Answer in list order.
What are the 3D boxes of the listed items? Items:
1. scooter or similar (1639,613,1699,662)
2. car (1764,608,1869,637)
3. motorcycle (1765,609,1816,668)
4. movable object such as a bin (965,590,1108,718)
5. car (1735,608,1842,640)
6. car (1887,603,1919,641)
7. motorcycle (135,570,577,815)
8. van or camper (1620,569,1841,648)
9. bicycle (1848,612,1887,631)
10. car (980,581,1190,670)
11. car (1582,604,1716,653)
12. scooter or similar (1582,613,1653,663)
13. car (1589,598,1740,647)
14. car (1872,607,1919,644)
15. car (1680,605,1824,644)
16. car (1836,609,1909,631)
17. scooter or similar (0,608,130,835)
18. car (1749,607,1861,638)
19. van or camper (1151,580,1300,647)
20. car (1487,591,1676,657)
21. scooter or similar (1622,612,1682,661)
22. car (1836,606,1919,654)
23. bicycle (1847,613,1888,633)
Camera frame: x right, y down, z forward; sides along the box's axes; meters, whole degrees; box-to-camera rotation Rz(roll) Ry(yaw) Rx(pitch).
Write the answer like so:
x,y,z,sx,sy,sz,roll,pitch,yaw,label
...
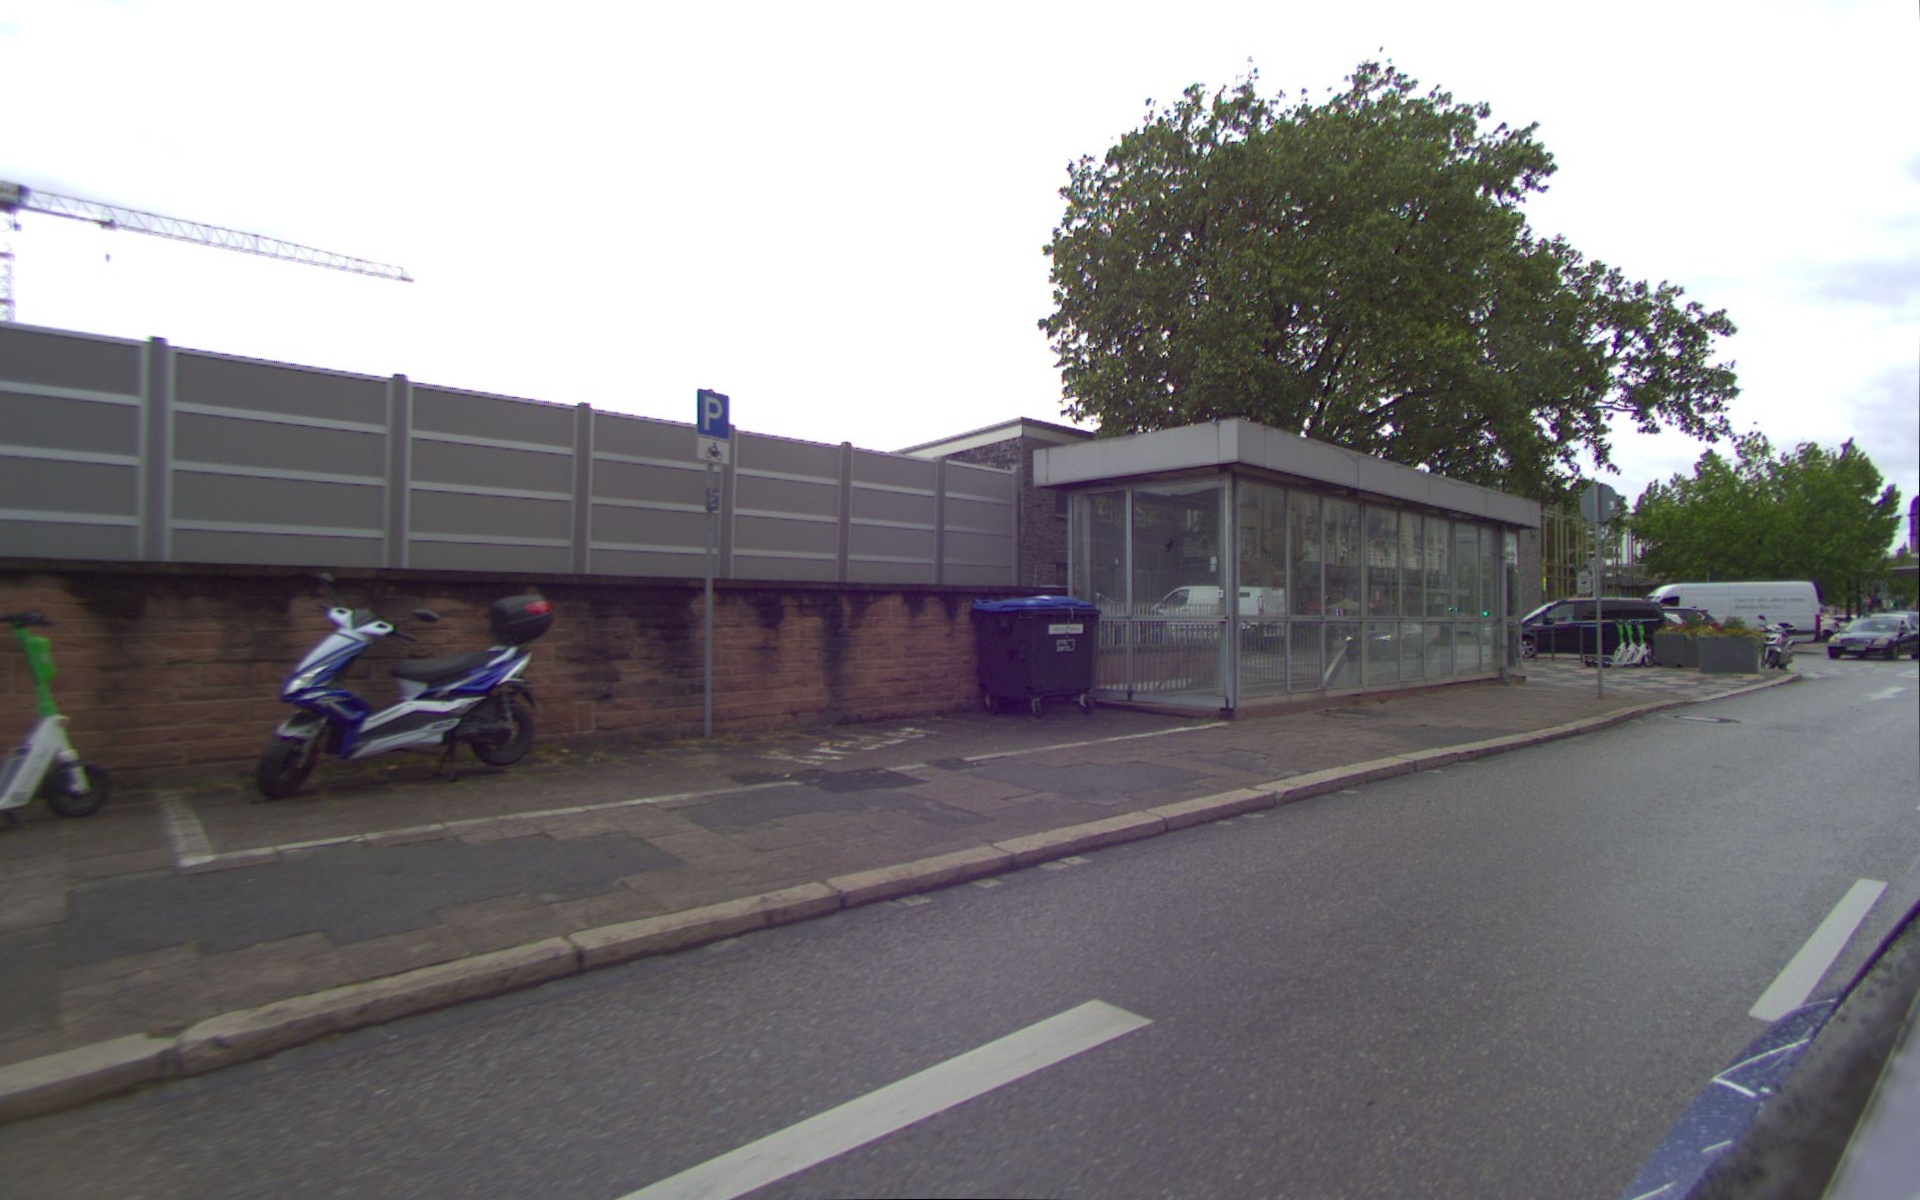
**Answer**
x,y,z,sx,sy,sz,roll,pitch,yaw,label
17.172,0.910,24.527,1.237,1.170,0.415,0,-2,-10,scooter or similar
44.949,1.148,53.220,3.893,1.417,1.762,1,0,27,car
20.490,0.926,24.946,2.072,1.369,0.644,1,0,-41,motorcycle
0.888,0.579,11.620,1.295,1.355,1.035,1,0,-44,movable object such as a bin
40.034,1.121,48.995,3.575,1.417,1.768,1,0,20,car
45.382,1.043,47.750,4.337,1.704,1.823,1,0,-40,car
-3.916,0.518,6.769,2.416,1.365,0.792,1,0,-44,motorcycle
30.009,0.284,39.702,6.445,2.906,2.266,1,0,19,van or camper
52.769,1.251,58.858,1.690,1.059,0.524,0,0,6,bicycle
2.886,0.527,24.097,2.075,1.898,4.686,1,0,-45,car
23.868,0.953,35.208,3.549,1.544,1.749,1,0,23,car
16.286,0.918,25.054,1.638,1.170,1.066,0,0,-41,scooter or similar
25.900,0.801,37.357,4.183,1.655,1.872,1,0,20,car
41.169,1.098,44.130,3.525,1.493,1.660,1,0,-40,car
33.811,1.013,43.356,4.412,1.490,1.908,1,0,19,car
66.709,1.433,74.091,1.789,1.510,4.153,1,0,5,car
-5.336,0.636,5.124,0.490,1.167,1.698,0,0,28,scooter or similar
42.328,1.129,50.805,3.881,1.417,1.768,1,0,20,car
8.548,0.375,32.841,1.987,2.015,4.282,1,0,-44,van or camper
19.421,0.709,31.870,4.635,1.898,2.098,1,0,17,car
17.073,0.895,24.964,1.237,1.170,0.415,0,-2,-10,scooter or similar
30.859,0.968,33.761,3.757,1.493,1.871,1,0,-40,car
53.281,1.345,59.419,1.695,1.059,0.523,2,0,15,bicycle
